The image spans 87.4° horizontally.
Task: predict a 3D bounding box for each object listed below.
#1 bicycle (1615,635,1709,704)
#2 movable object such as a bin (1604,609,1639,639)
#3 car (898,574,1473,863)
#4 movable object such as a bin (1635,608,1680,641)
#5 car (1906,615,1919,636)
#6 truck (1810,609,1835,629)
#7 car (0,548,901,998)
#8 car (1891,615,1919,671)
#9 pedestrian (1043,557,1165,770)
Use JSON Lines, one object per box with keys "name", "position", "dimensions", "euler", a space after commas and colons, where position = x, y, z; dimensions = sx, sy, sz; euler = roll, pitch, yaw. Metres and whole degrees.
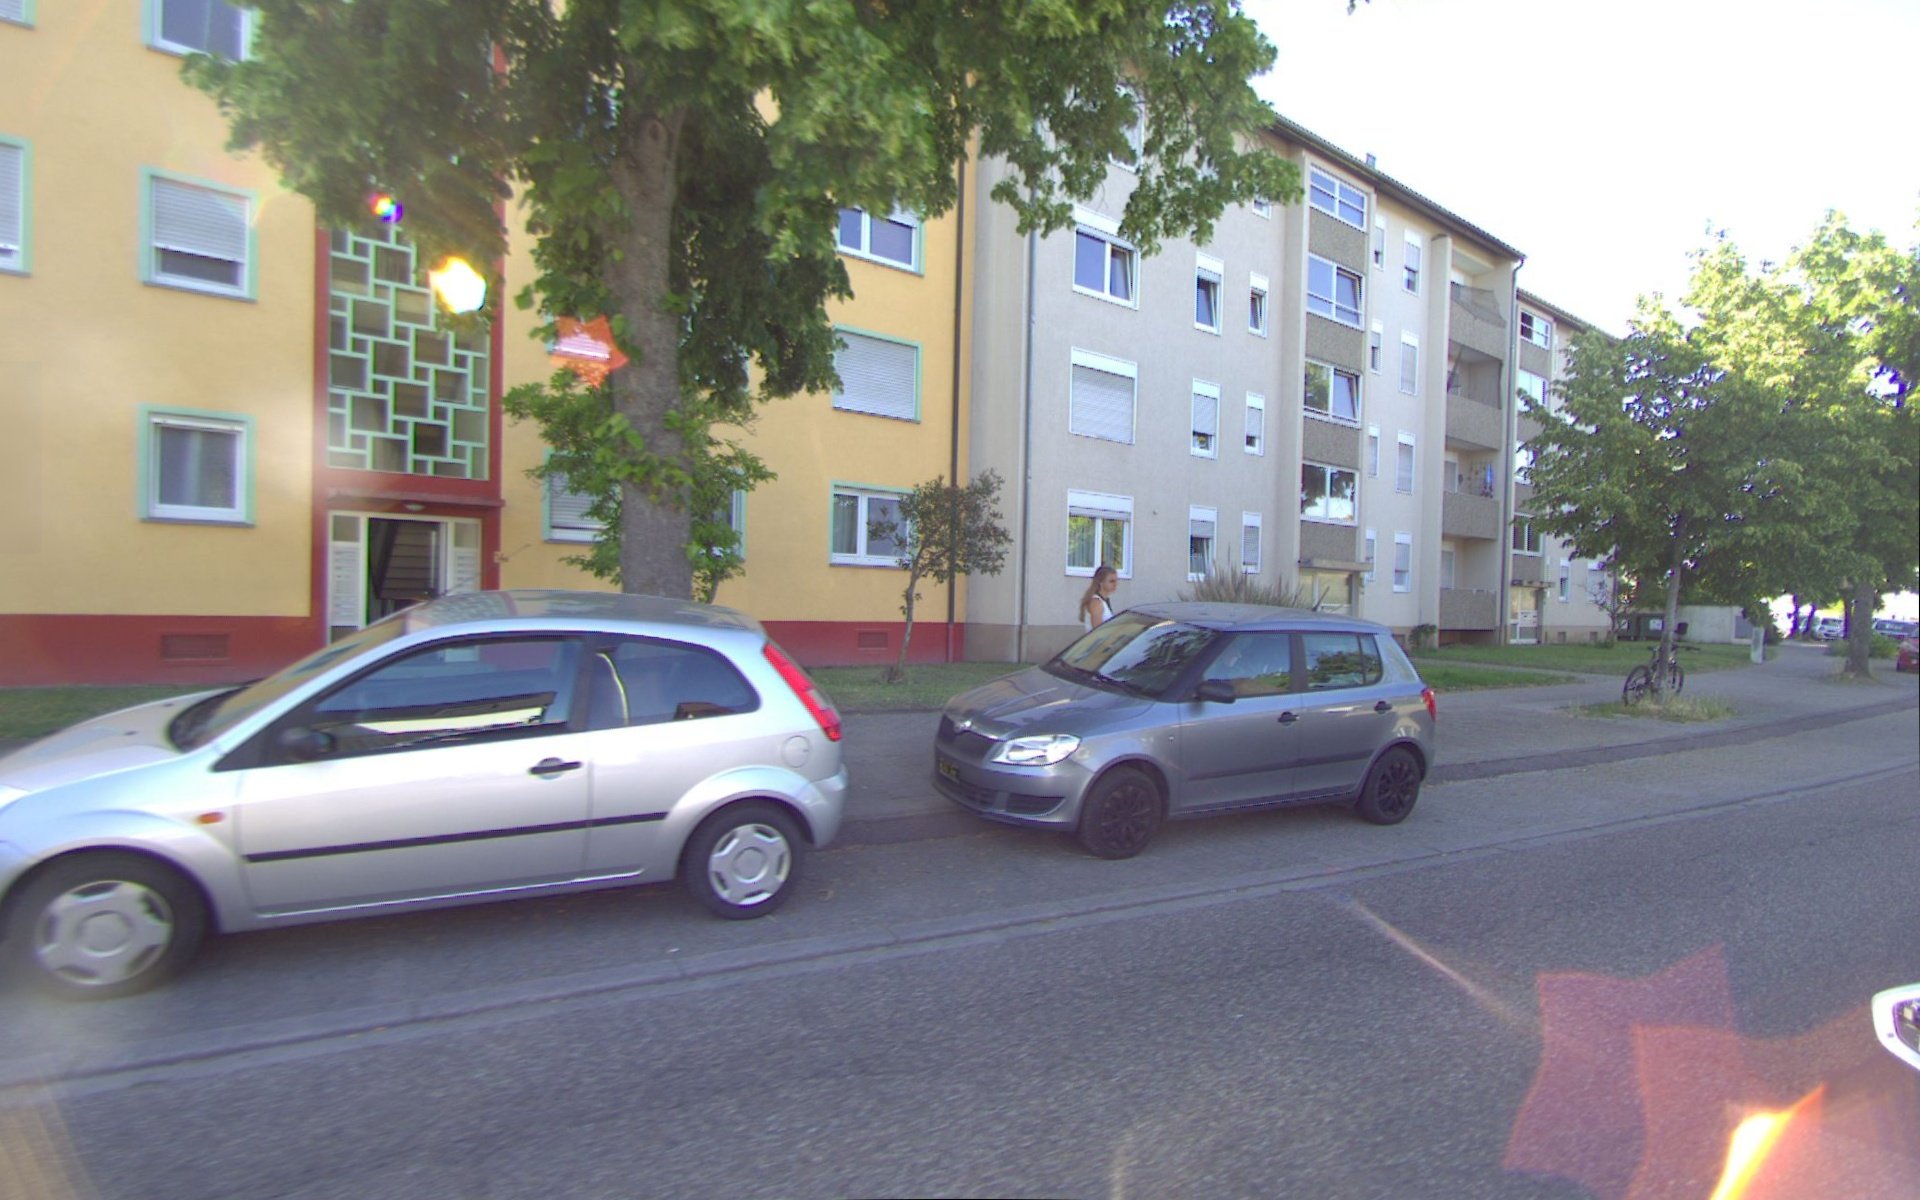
{"name": "bicycle", "position": [10.567, 1.028, 15.102], "dimensions": [1.861, 0.982, 0.365], "euler": [1, 0, -29]}
{"name": "movable object such as a bin", "position": [31.368, 1.151, 47.636], "dimensions": [1.081, 1.339, 1.160], "euler": [4, -1, -44]}
{"name": "car", "position": [1.657, 0.690, 7.232], "dimensions": [3.867, 1.551, 1.561], "euler": [1, 4, -27]}
{"name": "movable object such as a bin", "position": [32.344, 1.117, 46.593], "dimensions": [1.081, 1.446, 1.503], "euler": [4, -1, -44]}
{"name": "car", "position": [84.485, 2.277, 87.854], "dimensions": [1.979, 1.747, 4.279], "euler": [1, -1, 36]}
{"name": "truck", "position": [121.101, 2.700, 141.062], "dimensions": [2.177, 2.633, 5.127], "euler": [2, -1, 36]}
{"name": "car", "position": [-2.451, 0.626, 4.913], "dimensions": [3.948, 1.530, 1.651], "euler": [2, 3, -27]}
{"name": "car", "position": [28.267, 1.254, 29.113], "dimensions": [1.671, 1.511, 4.264], "euler": [3, 1, 45]}
{"name": "pedestrian", "position": [1.235, 0.536, 8.665], "dimensions": [0.712, 1.741, 0.683], "euler": [3, -1, -28]}
